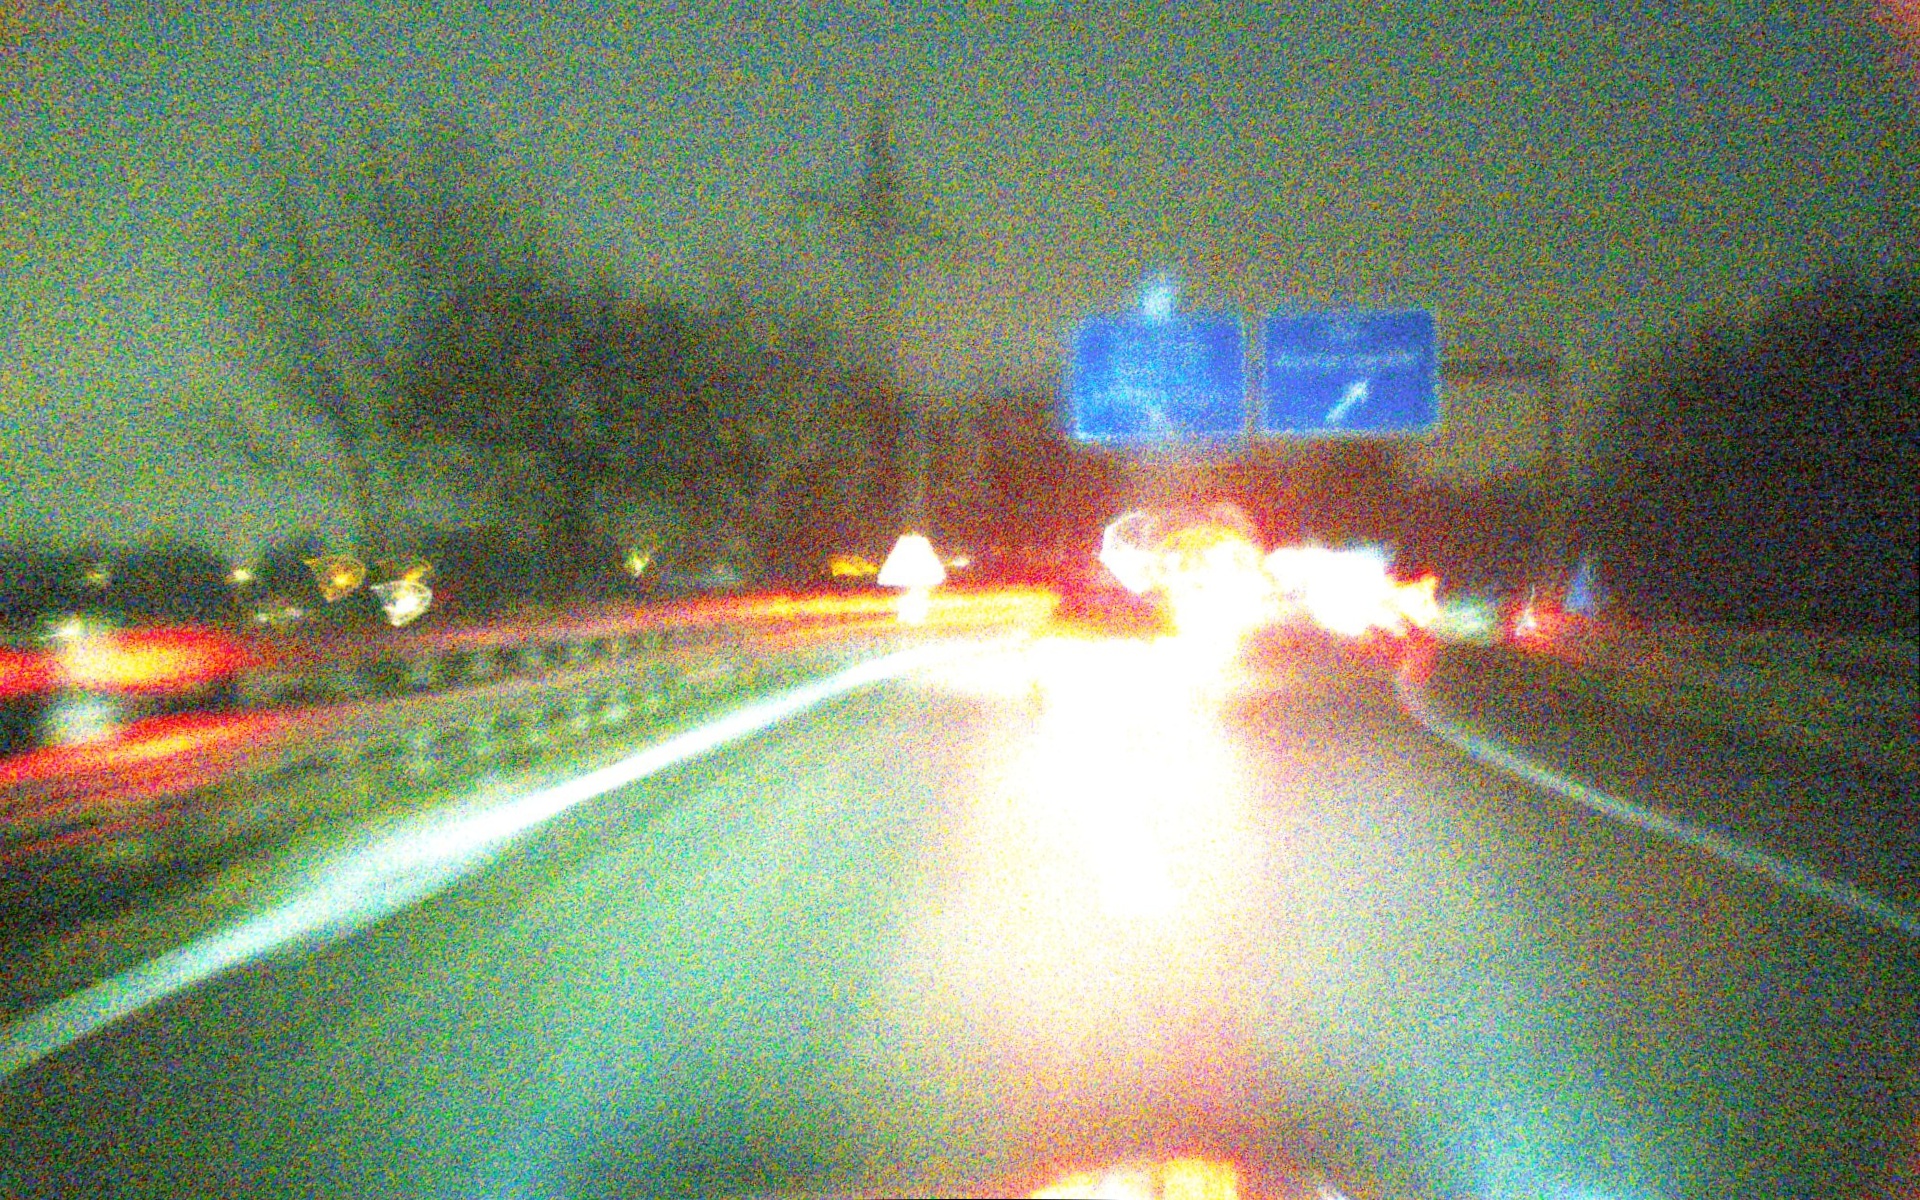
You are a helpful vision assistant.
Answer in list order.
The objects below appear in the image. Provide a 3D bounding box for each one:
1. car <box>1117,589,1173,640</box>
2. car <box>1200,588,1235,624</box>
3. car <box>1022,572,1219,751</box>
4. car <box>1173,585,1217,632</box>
[{"bbox_3d":[6.647,0.505,59.096,1.855,1.751,4.048,0,-1,8],"label":"car"},{"bbox_3d":[14.972,0.358,96.406,1.855,2.033,4.048,0,0,7],"label":"car"},{"bbox_3d":[1.599,0.585,17.767,1.822,1.676,4.069,1,0,2],"label":"car"},{"bbox_3d":[10.618,0.387,74.457,1.855,2.076,4.049,0,-1,10],"label":"car"}]
